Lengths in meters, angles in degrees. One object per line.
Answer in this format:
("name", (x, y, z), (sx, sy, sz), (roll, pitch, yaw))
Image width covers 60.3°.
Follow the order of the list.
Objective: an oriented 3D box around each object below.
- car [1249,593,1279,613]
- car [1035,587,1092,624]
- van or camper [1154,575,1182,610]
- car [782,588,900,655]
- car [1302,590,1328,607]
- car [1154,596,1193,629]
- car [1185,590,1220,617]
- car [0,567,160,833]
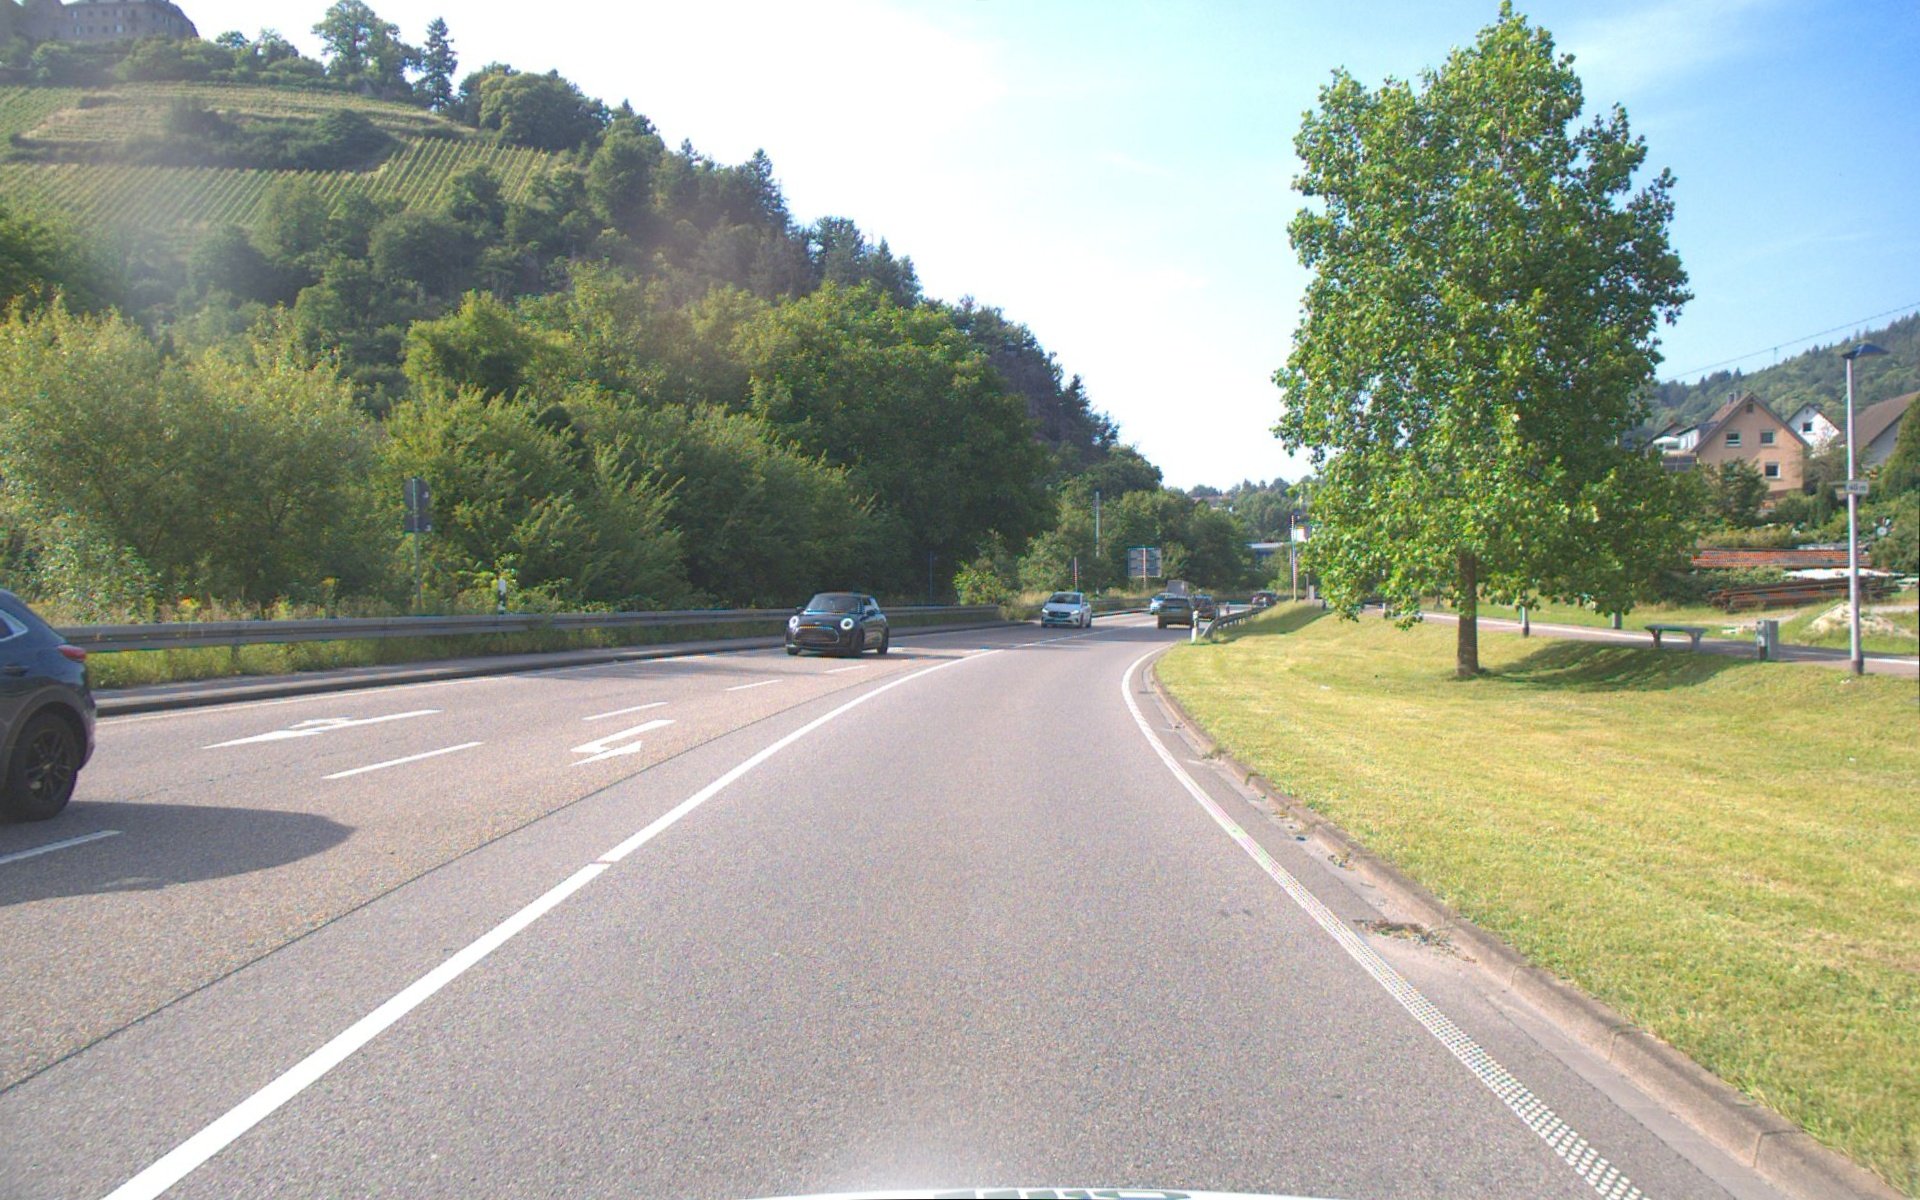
("car", (24.029, 0.255, 130.459), (1.769, 1.478, 3.648), (-1, 0, 19))
("car", (4.595, 0.226, 72.925), (1.903, 1.512, 4.589), (1, 1, 11))
("van or camper", (14.524, -0.525, 115.358), (1.568, 2.369, 4.063), (2, 1, 12))
("car", (-2.677, 0.462, 38.197), (1.657, 1.426, 4.205), (1, 0, 11))
("car", (32.753, -0.160, 152.586), (1.771, 1.433, 3.774), (-1, 0, 20))
("car", (9.882, 0.566, 76.477), (1.691, 1.482, 3.413), (-1, 0, 9))
("car", (14.176, 0.198, 96.551), (1.801, 1.485, 3.716), (-1, 0, 11))
("car", (-6.402, 0.551, 8.703), (1.812, 1.495, 4.545), (2, 0, 5))
